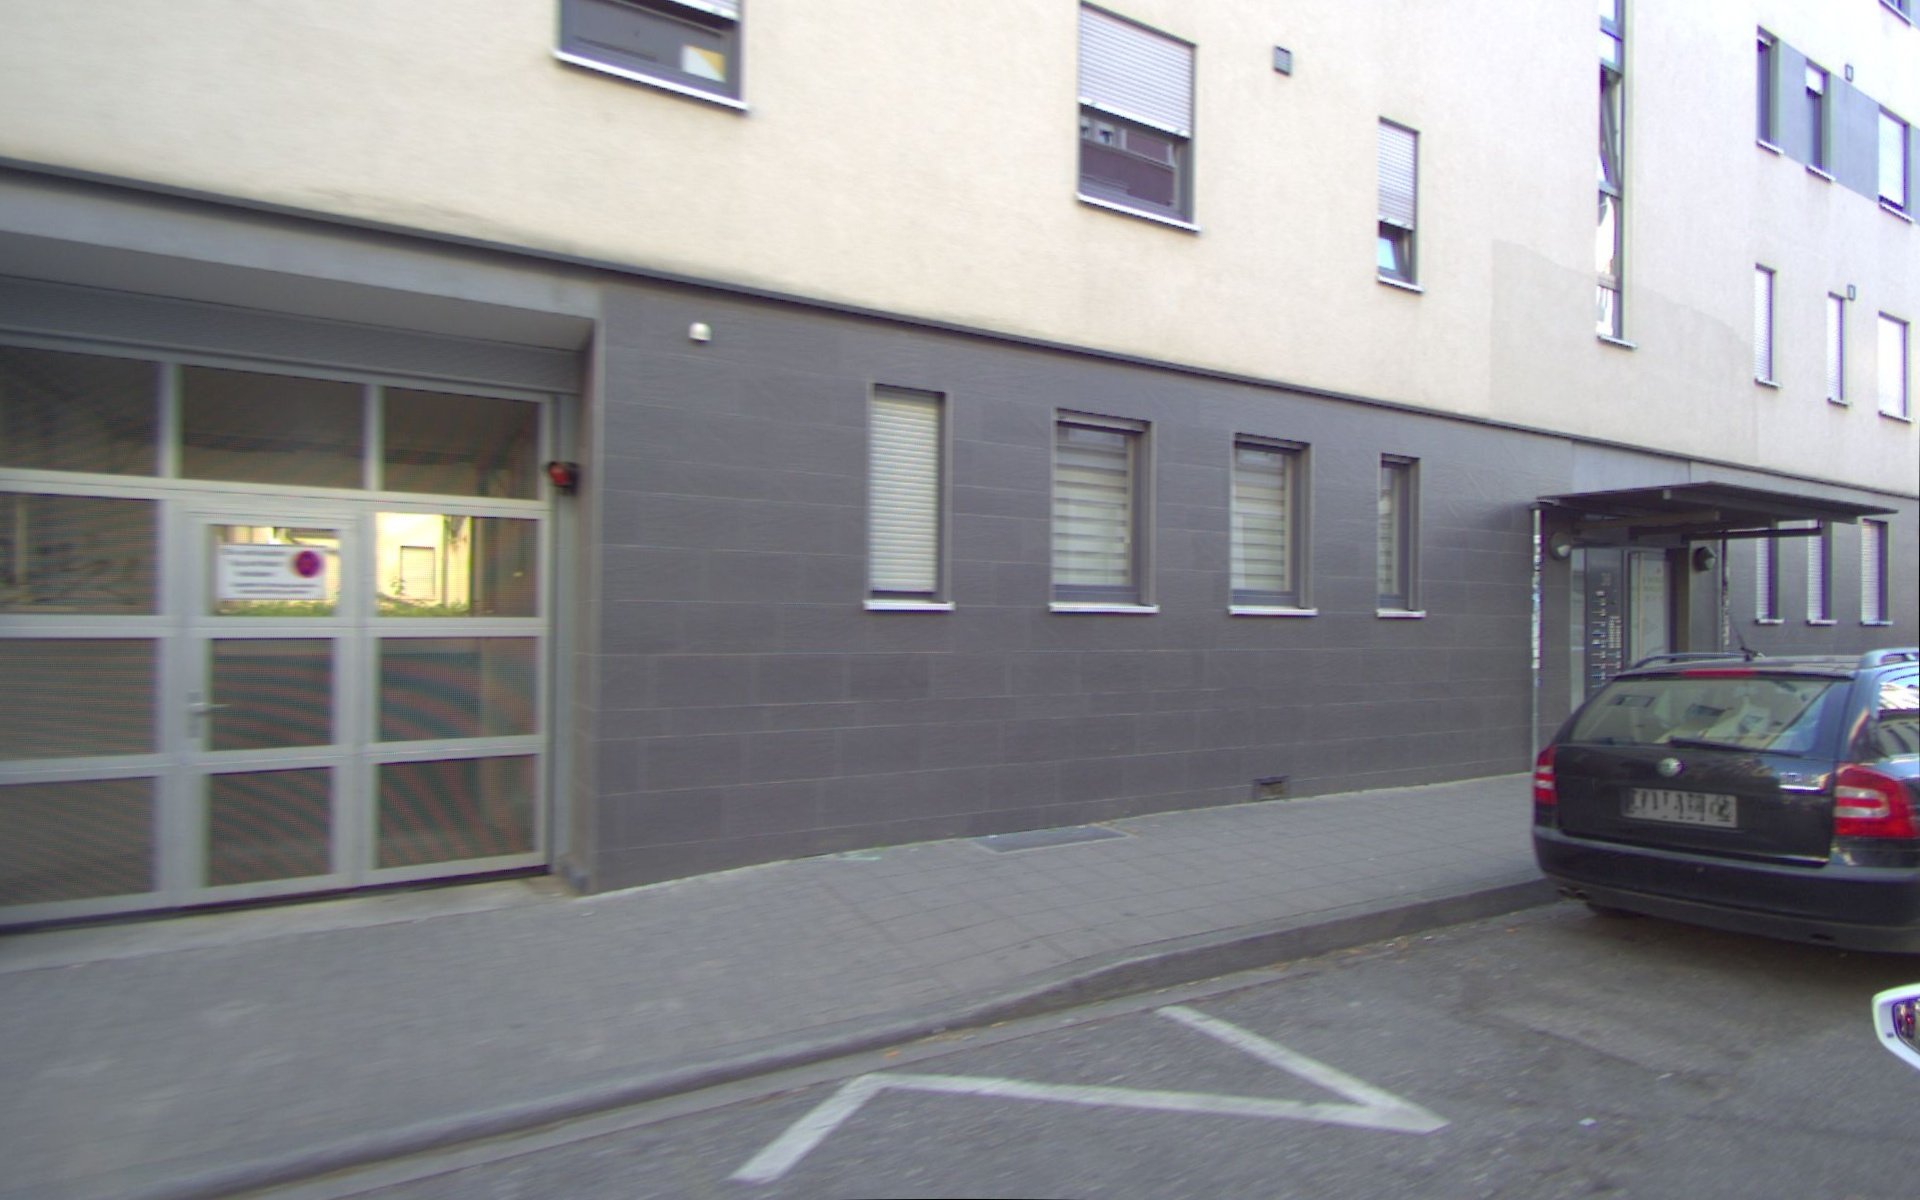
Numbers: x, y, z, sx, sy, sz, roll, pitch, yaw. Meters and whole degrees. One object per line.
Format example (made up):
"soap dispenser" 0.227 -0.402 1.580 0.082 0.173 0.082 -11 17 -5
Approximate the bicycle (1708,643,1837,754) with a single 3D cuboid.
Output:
"bicycle" 9.178 1.075 11.330 1.751 1.180 0.488 1 -2 -29

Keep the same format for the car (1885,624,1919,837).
"car" 9.663 0.999 8.345 4.195 1.672 1.709 0 -3 -30

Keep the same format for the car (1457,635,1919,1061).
"car" 4.892 0.960 5.493 4.445 1.498 1.709 0 -3 -30
